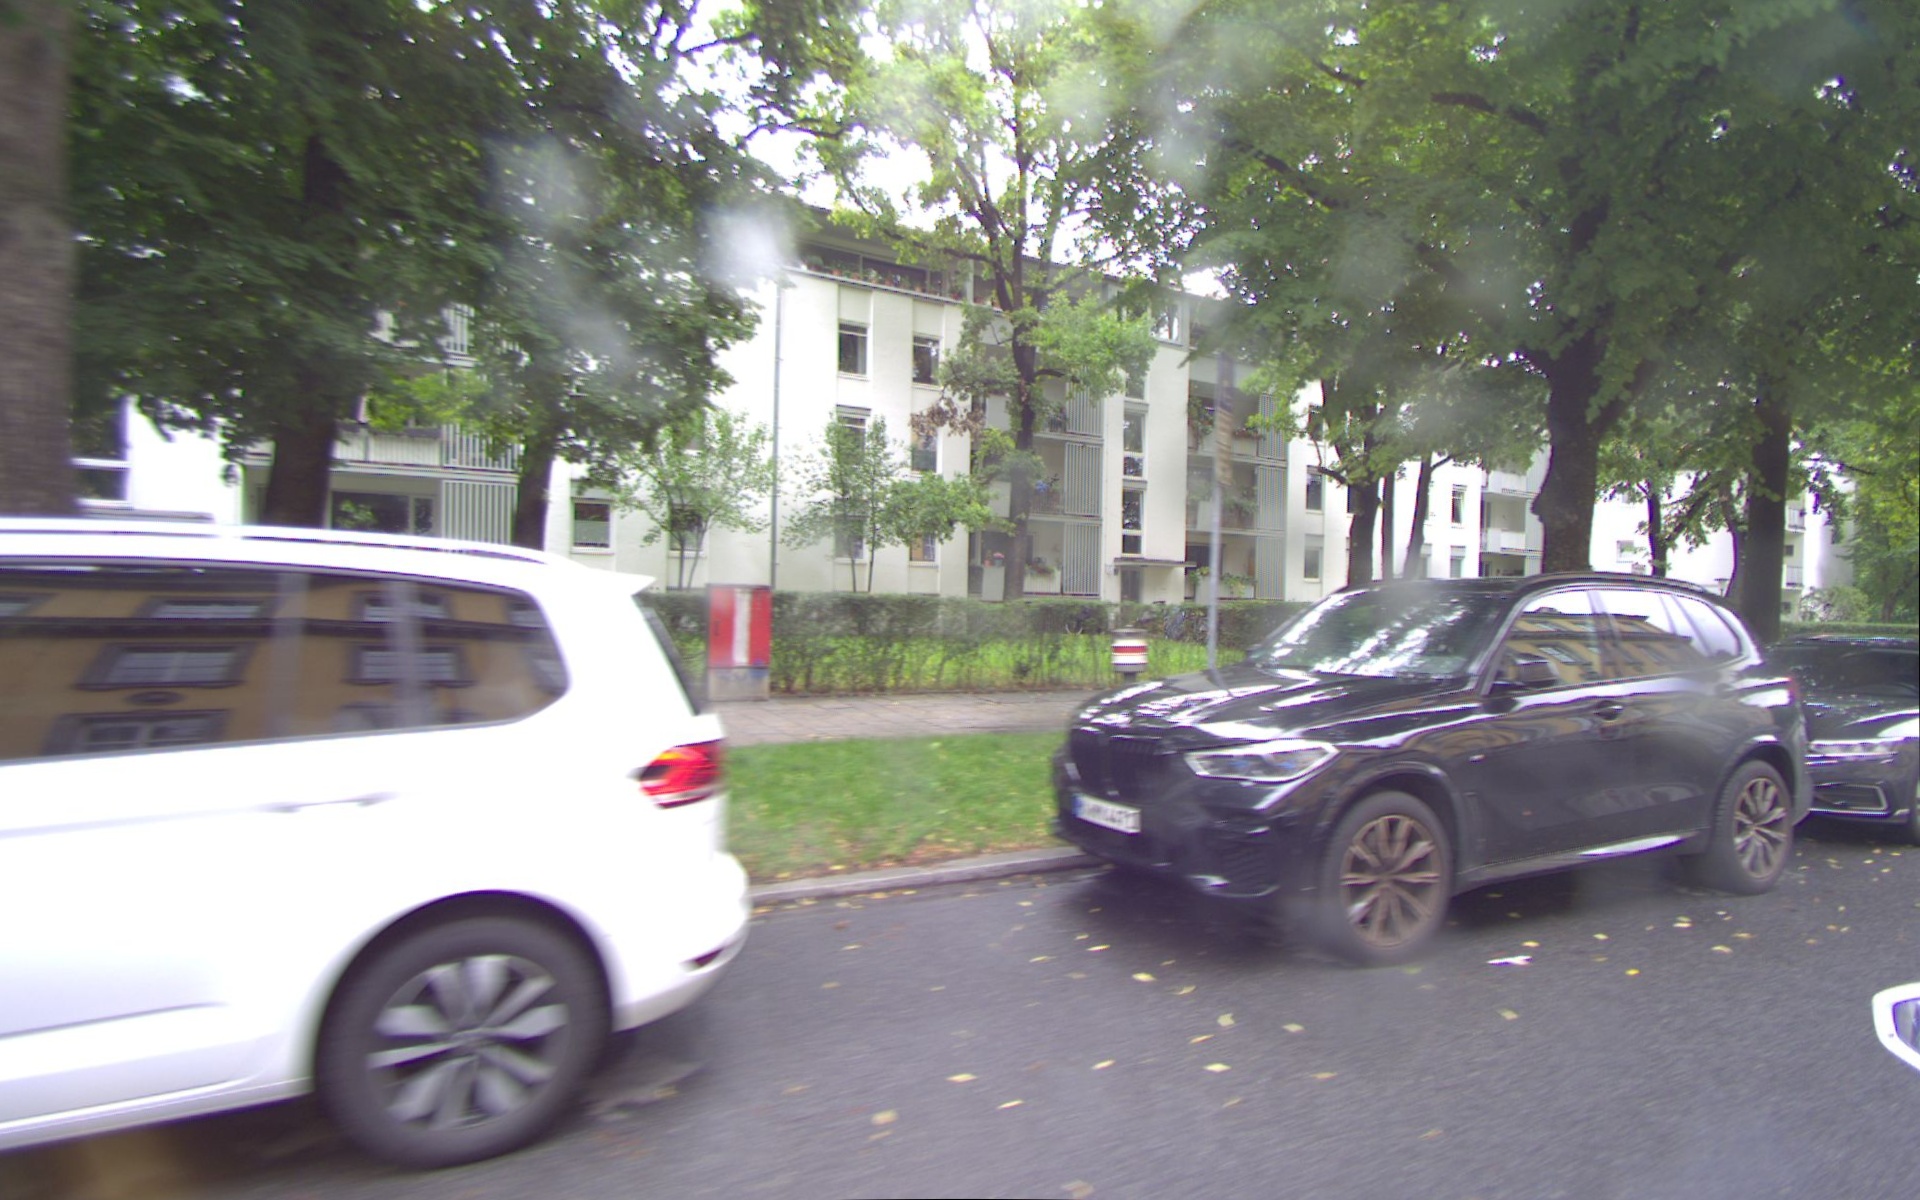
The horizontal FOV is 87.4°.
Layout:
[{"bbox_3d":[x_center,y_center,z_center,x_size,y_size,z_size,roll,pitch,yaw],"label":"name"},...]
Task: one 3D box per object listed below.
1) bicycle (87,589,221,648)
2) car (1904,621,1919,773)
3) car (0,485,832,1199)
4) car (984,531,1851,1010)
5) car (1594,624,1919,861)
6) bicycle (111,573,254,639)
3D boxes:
[{"bbox_3d":[-15.108,0.349,18.887,1.882,1.051,0.637,1,1,-32],"label":"bicycle"},{"bbox_3d":[12.448,1.089,10.998,4.431,1.595,1.778,2,0,-29],"label":"car"},{"bbox_3d":[-2.767,0.590,2.767,4.463,1.643,1.760,2,-3,-26],"label":"car"},{"bbox_3d":[2.749,0.736,5.822,4.857,1.820,1.987,2,-1,-27],"label":"car"},{"bbox_3d":[7.500,1.006,8.266,4.635,1.470,1.712,2,0,-27],"label":"car"},{"bbox_3d":[-13.430,0.107,17.426,1.882,1.096,0.637,1,1,-32],"label":"bicycle"}]
